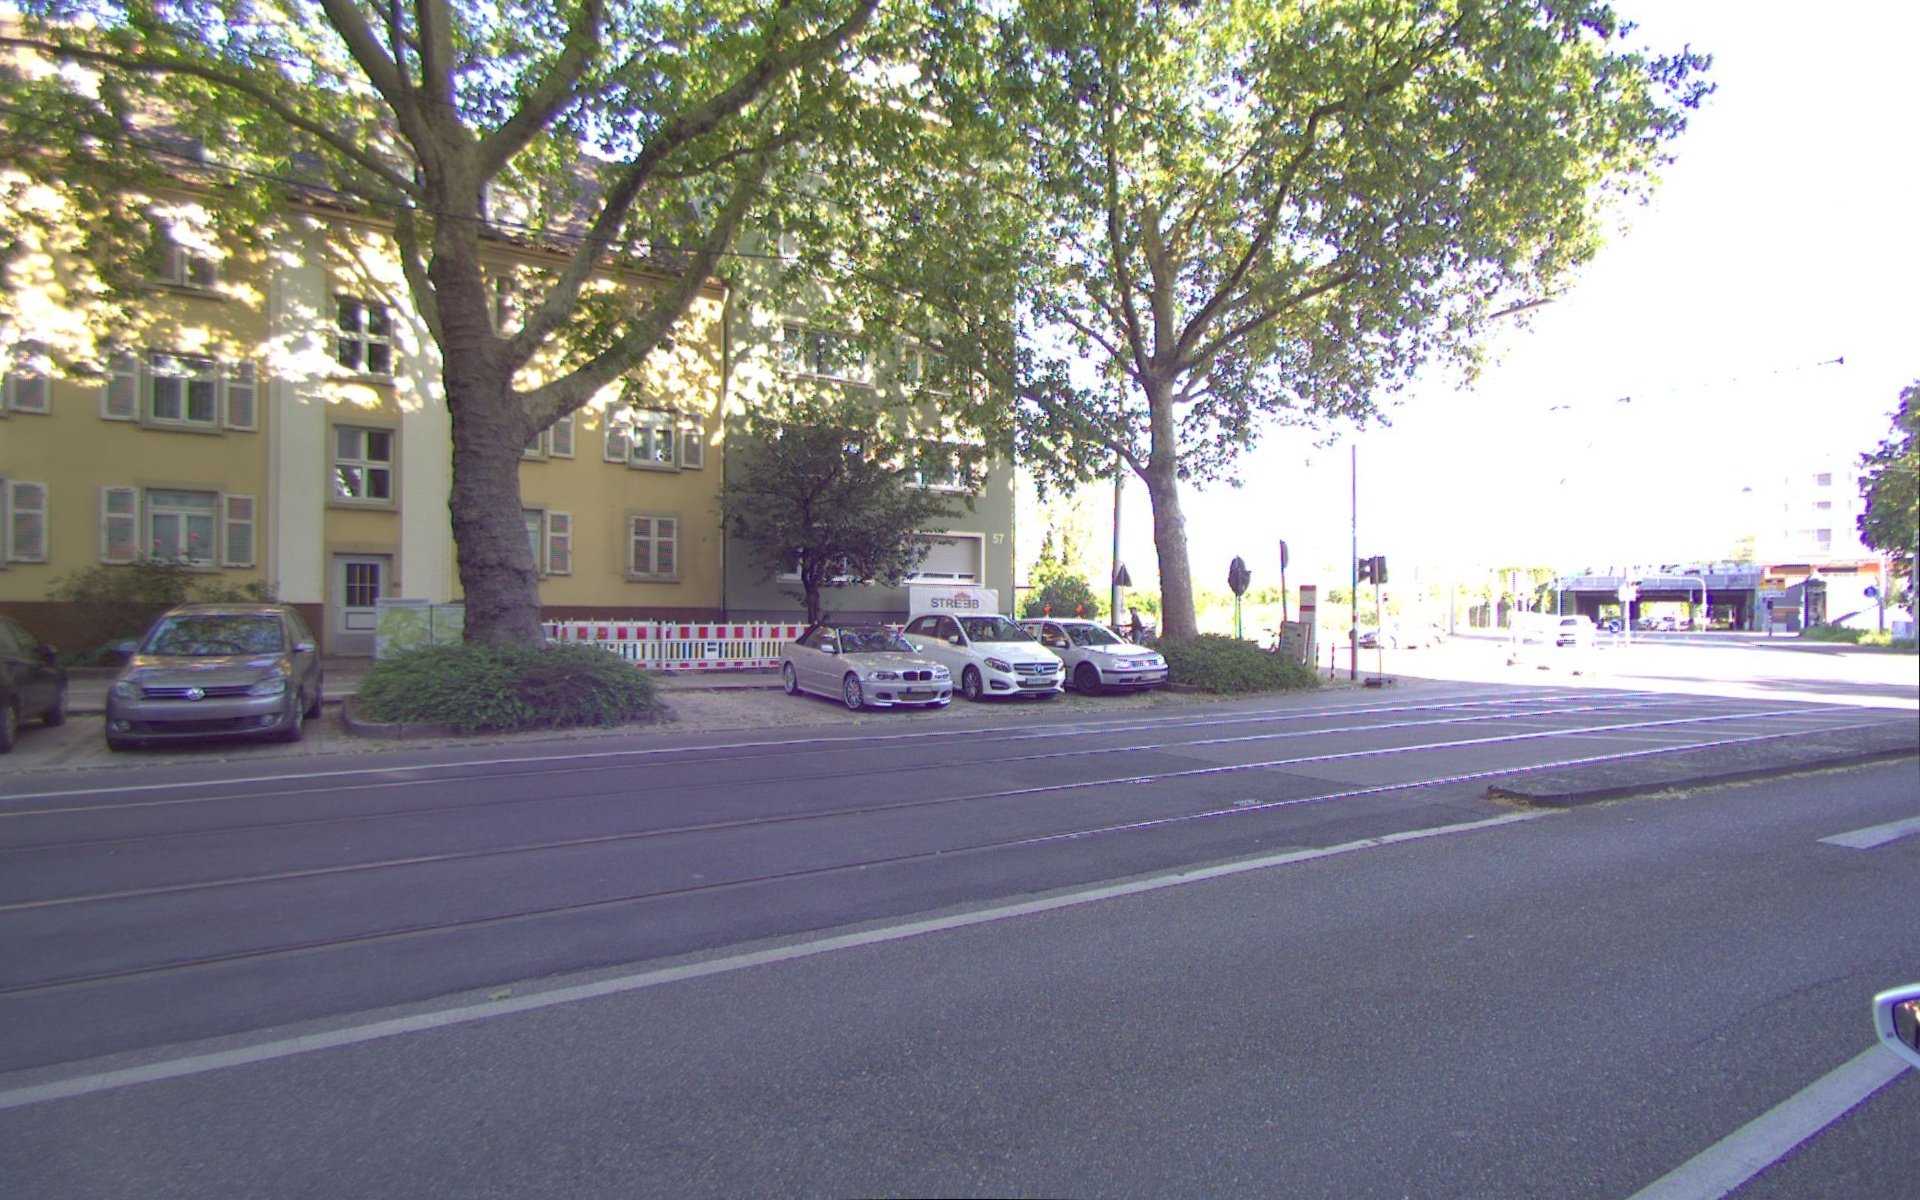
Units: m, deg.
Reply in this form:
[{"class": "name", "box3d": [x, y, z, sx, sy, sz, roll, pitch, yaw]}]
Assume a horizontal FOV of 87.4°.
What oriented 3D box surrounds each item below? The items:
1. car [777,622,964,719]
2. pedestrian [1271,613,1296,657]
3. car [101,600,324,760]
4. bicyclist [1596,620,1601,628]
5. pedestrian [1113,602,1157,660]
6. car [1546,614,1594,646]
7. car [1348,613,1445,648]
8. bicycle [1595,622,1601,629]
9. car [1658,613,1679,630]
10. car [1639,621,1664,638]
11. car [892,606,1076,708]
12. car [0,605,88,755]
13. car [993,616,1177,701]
[{"class": "car", "box3d": [-1.653, 1.110, 17.307, 1.651, 1.370, 3.949, 1, 0, -31]}, {"class": "pedestrian", "box3d": [12.766, 1.358, 39.570, 0.760, 1.683, 0.954, 2, 0, 27]}, {"class": "car", "box3d": [-9.003, 0.833, 12.414, 1.652, 1.602, 3.953, 1, 0, -29]}, {"class": "bicyclist", "box3d": [93.058, 3.483, 146.468, 0.519, 1.239, 0.527, 0, 0, 39]}, {"class": "pedestrian", "box3d": [5.139, 0.897, 29.520, 0.919, 1.669, 0.841, 2, 0, -30]}, {"class": "car", "box3d": [33.544, 1.632, 55.201, 1.860, 1.606, 3.823, 2, 0, 37]}, {"class": "car", "box3d": [21.749, 1.513, 50.025, 4.284, 1.684, 1.798, 1, -1, -16]}, {"class": "bicycle", "box3d": [93.054, 3.682, 146.462, 0.519, 0.995, 1.571, 0, -1, 38]}, {"class": "car", "box3d": [82.350, 2.521, 116.758, 1.884, 1.906, 4.828, 0, -1, 36]}, {"class": "car", "box3d": [68.387, 2.906, 99.328, 1.860, 1.606, 3.823, 2, 0, 37]}, {"class": "car", "box3d": [0.347, 0.984, 19.152, 1.651, 1.669, 3.949, 1, 0, -31]}, {"class": "car", "box3d": [-11.469, 0.833, 11.382, 1.652, 1.518, 3.778, 1, 0, -29]}, {"class": "car", "box3d": [2.437, 1.111, 20.526, 1.651, 1.473, 3.949, 1, 0, -31]}]
